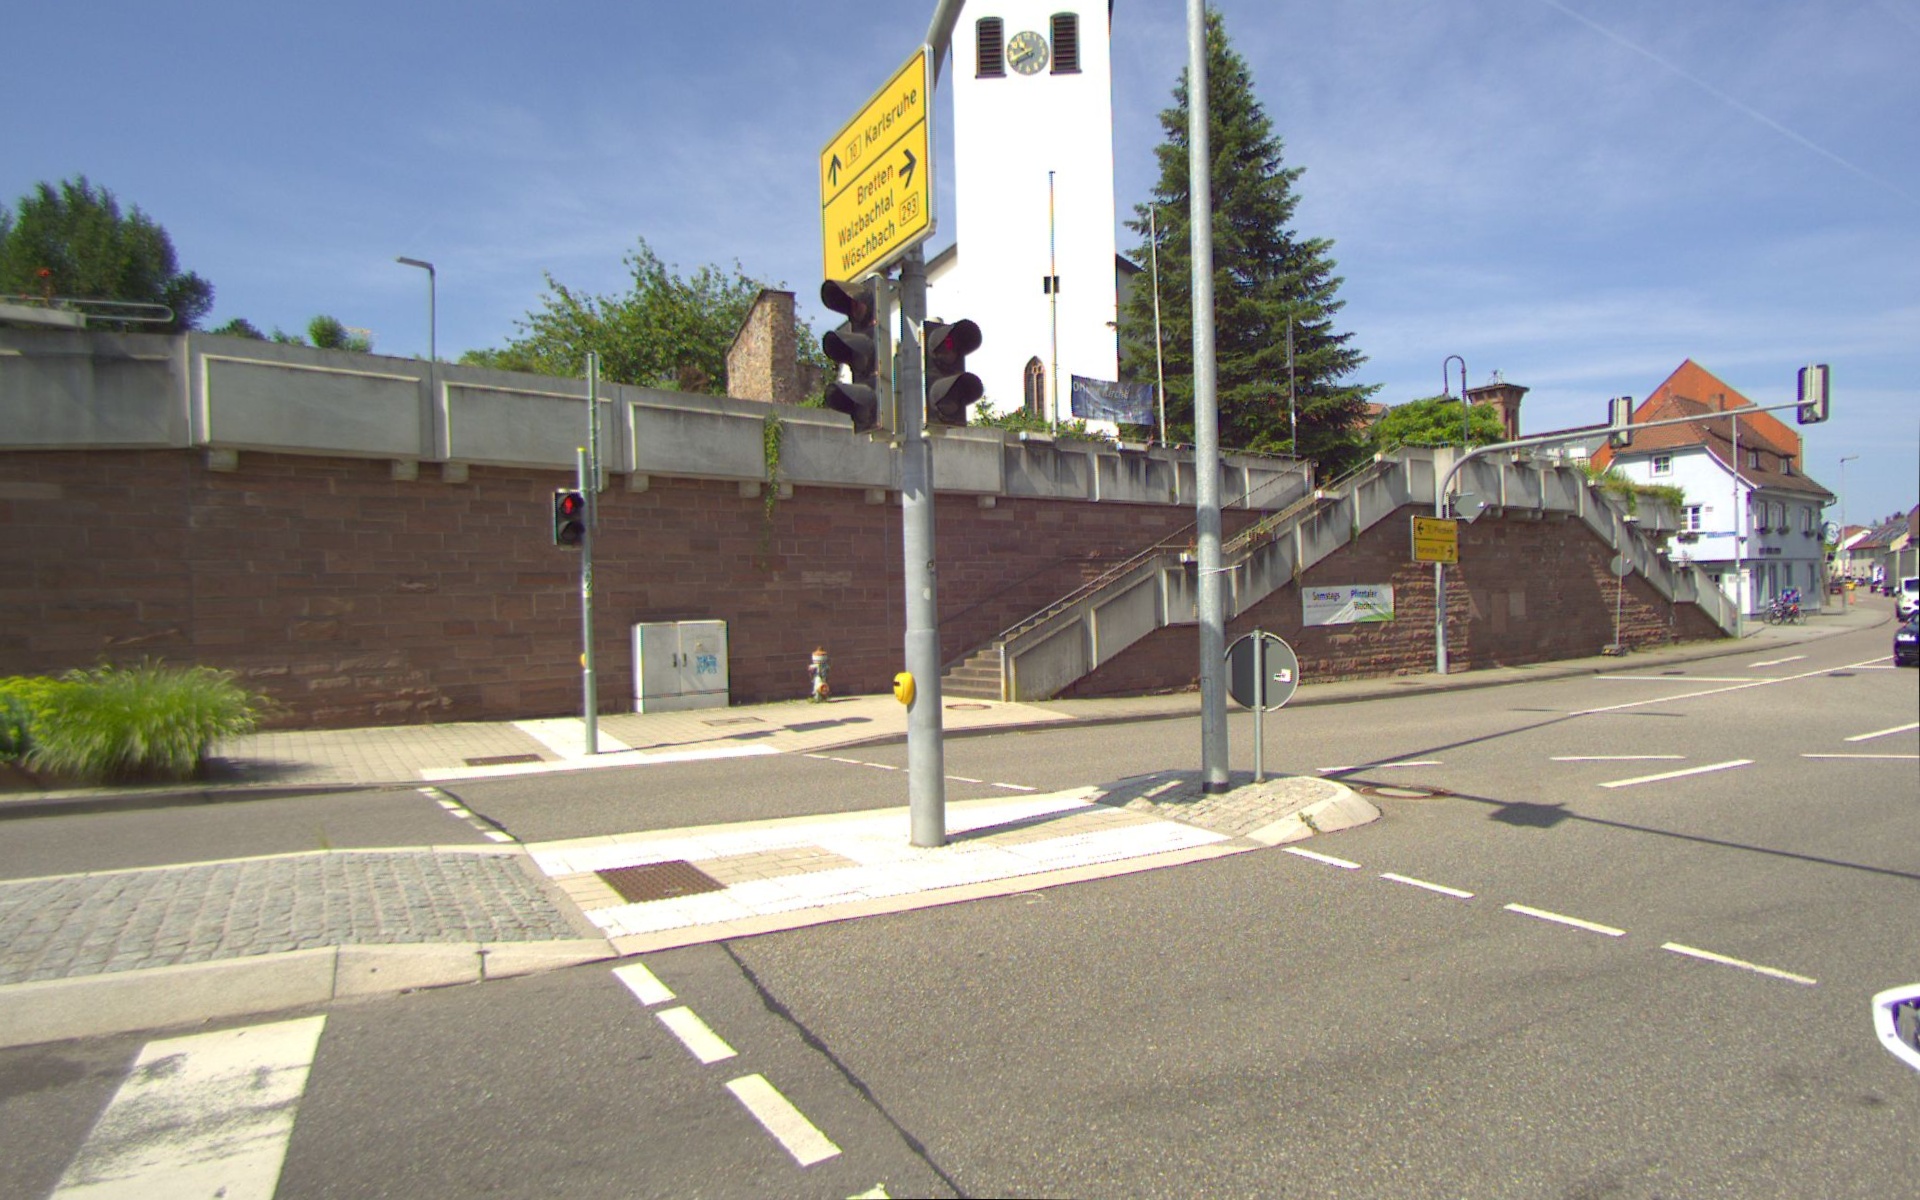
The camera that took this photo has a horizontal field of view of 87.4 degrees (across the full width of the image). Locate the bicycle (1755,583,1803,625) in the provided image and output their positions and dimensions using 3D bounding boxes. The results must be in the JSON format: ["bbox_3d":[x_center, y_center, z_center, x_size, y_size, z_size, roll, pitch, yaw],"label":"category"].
[{"bbox_3d":[35.671,0.168,43.733,2.637,1.803,0.638,0,2,-29],"label":"bicycle"}]

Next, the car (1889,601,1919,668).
[{"bbox_3d":[23.313,0.764,23.418,4.210,1.454,1.807,-1,0,-38],"label":"car"}]

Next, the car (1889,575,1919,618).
[{"bbox_3d":[46.518,-0.185,48.647,2.113,1.993,5.249,-2,-1,42],"label":"car"}]

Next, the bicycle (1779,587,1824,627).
[{"bbox_3d":[35.811,0.286,42.736,2.531,1.629,0.555,0,2,-29],"label":"bicycle"}]

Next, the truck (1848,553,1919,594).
[{"bbox_3d":[85.149,-2.387,92.462,3.114,3.507,10.686,2,1,31],"label":"truck"}]

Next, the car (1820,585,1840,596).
[{"bbox_3d":[100.974,-1.108,116.553,1.230,1.279,2.827,2,2,31],"label":"car"}]

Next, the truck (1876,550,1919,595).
[{"bbox_3d":[79.830,-2.269,83.993,3.178,3.597,9.205,2,2,32],"label":"truck"}]
